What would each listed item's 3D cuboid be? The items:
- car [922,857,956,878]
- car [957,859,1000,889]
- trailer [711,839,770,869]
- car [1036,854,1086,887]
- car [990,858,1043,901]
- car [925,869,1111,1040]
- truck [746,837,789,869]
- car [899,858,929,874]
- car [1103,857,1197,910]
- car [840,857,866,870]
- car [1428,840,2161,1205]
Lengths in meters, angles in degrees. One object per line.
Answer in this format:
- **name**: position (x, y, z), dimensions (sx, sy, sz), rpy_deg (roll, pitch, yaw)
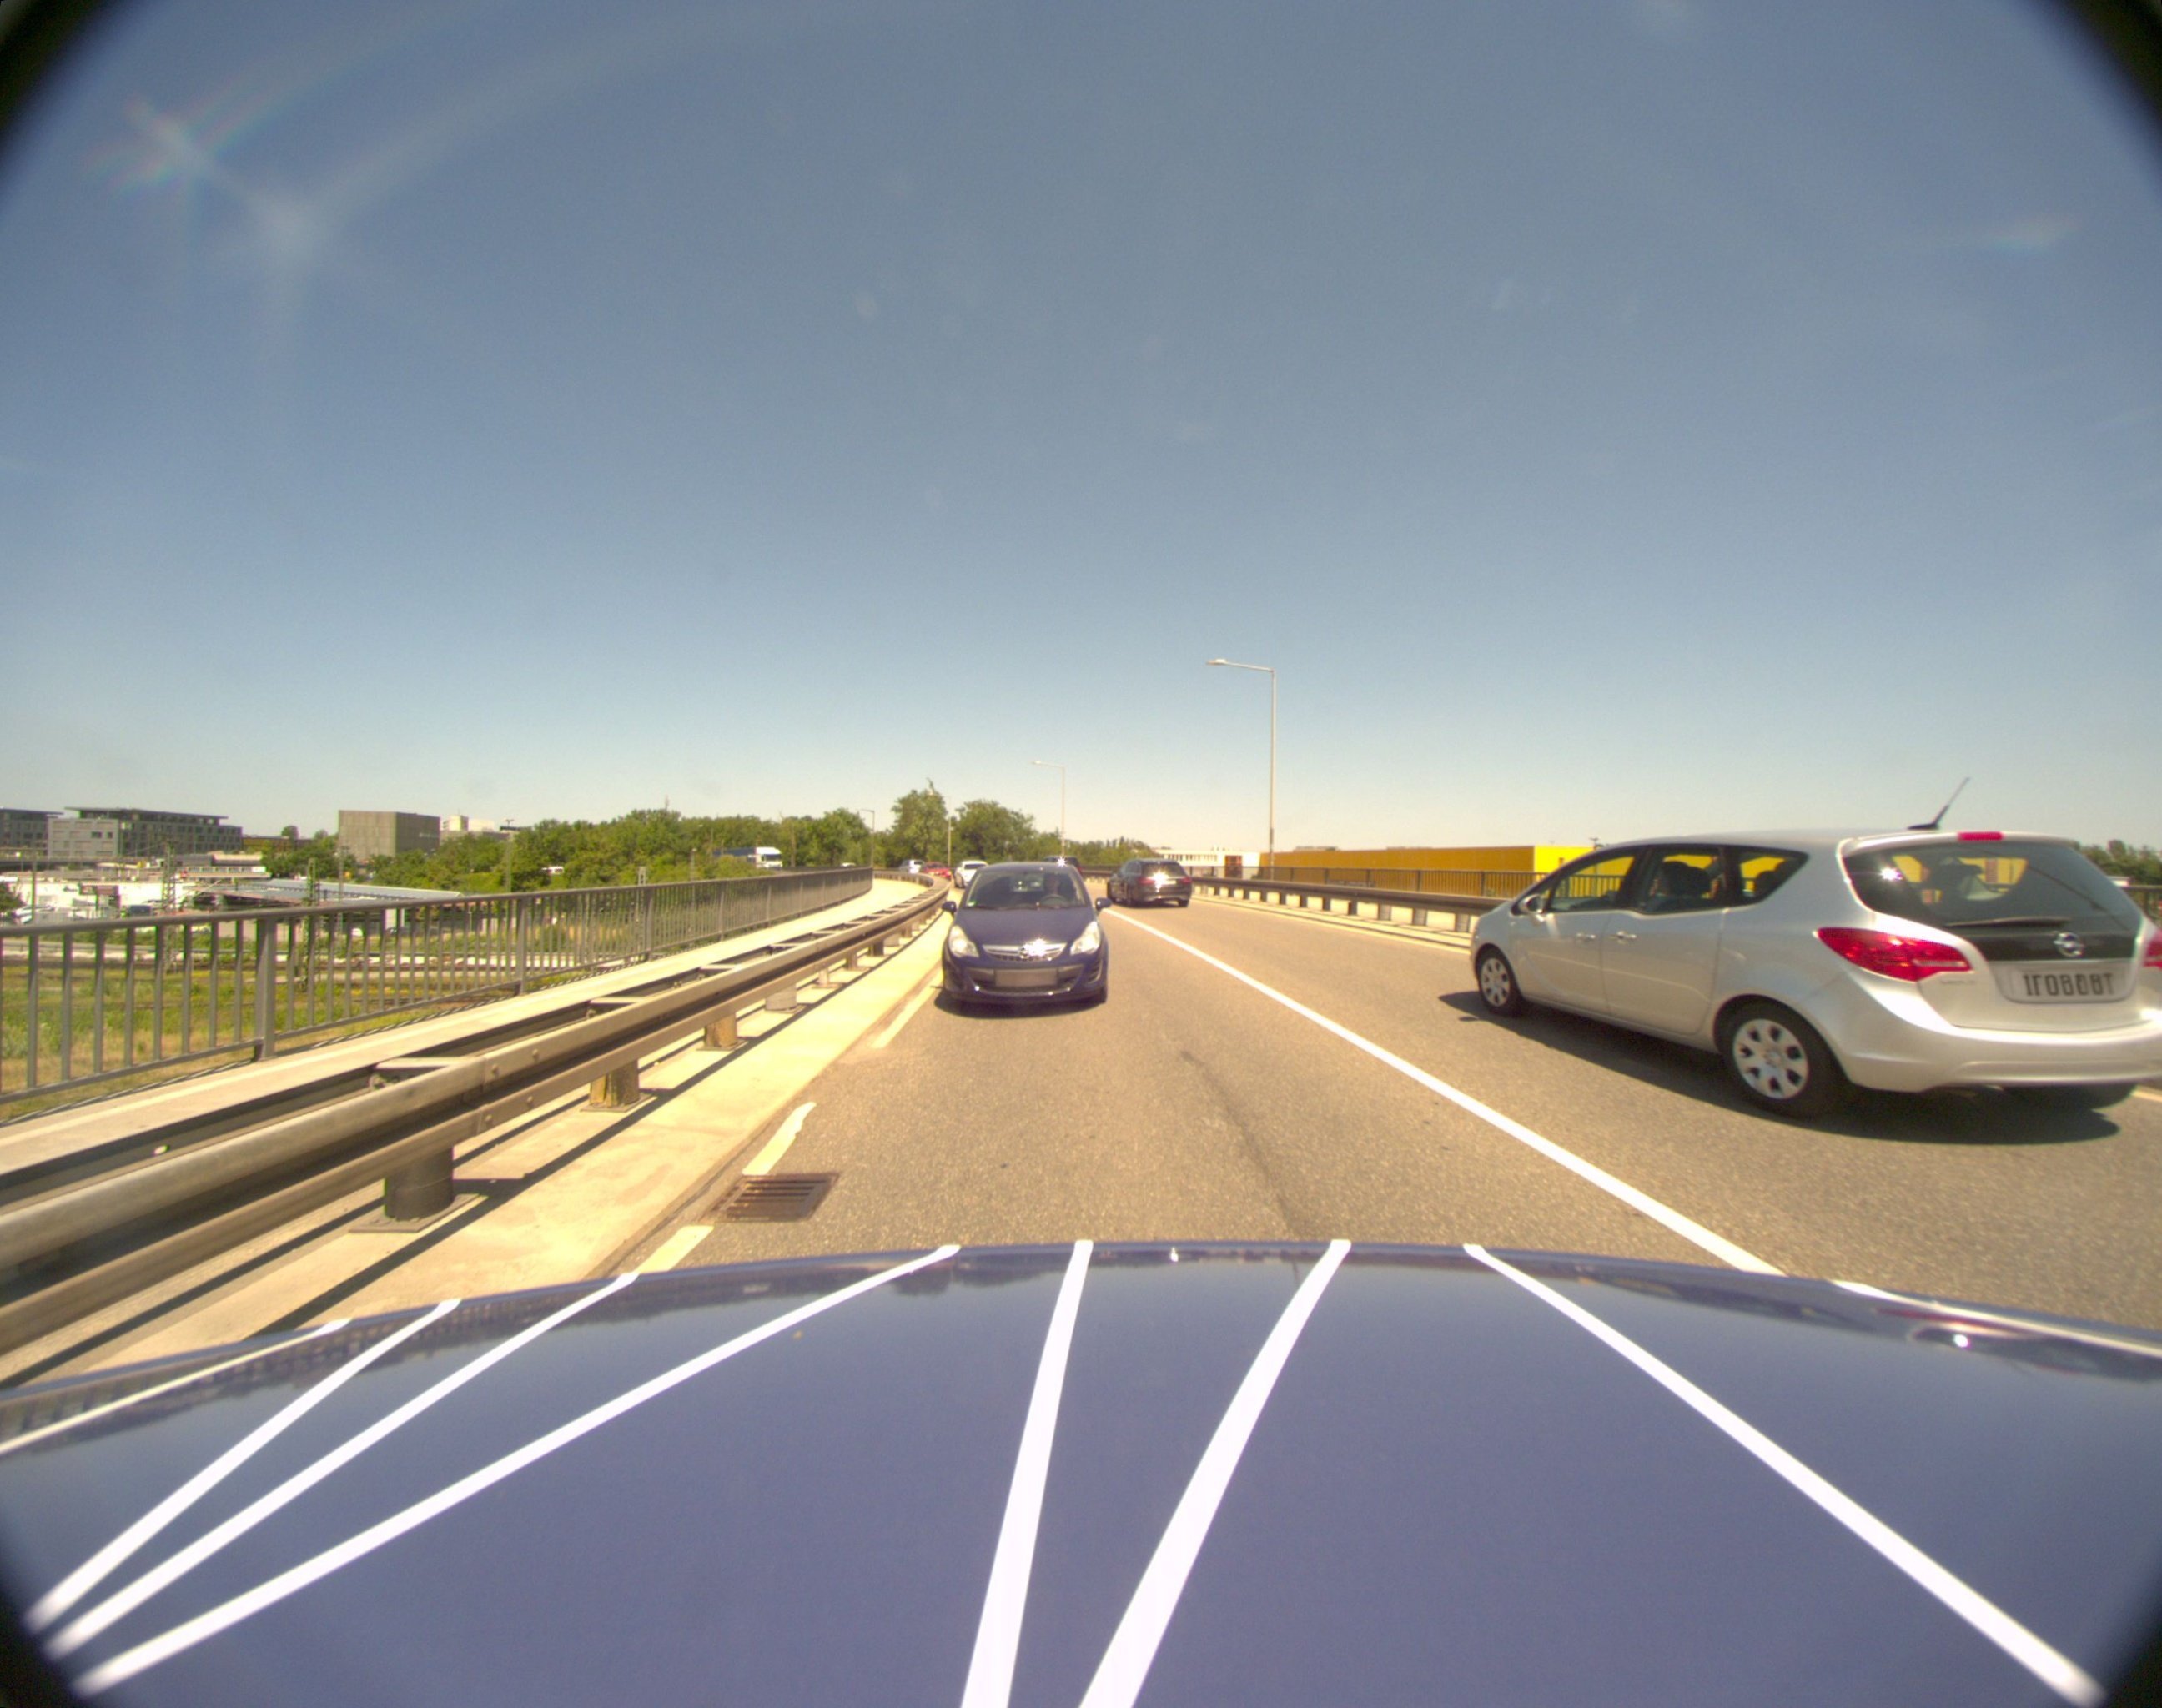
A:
- **car**: position (-10.425, 0.933, 55.566), dimensions (1.797, 1.446, 4.515), rpy_deg (0, 0, -20)
- **car**: position (-5.548, 1.052, 40.760), dimensions (1.796, 1.446, 4.517), rpy_deg (-2, 0, -14)
- **trailer**: position (-49.725, 0.074, 110.708), dimensions (12.677, 4.210, 2.707), rpy_deg (-1, 1, 41)
- **car**: position (-1.124, 0.806, 39.828), dimensions (1.779, 1.616, 4.248), rpy_deg (-1, 0, -14)
- **car**: position (-2.539, 0.915, 29.085), dimensions (1.795, 1.446, 4.520), rpy_deg (-2, 0, -7)
- **car**: position (-0.574, 0.952, 8.896), dimensions (1.645, 1.431, 4.000), rpy_deg (-2, 0, 0)
- **truck**: position (-43.409, -0.066, 105.112), dimensions (6.820, 4.204, 2.702), rpy_deg (-1, 2, 42)
- **car**: position (-16.783, 1.176, 76.146), dimensions (1.702, 1.598, 3.990), rpy_deg (-1, 0, -31)
- **car**: position (2.014, 0.827, 23.506), dimensions (1.778, 1.430, 4.388), rpy_deg (-1, 0, -10)
- **car**: position (-27.571, 1.124, 91.864), dimensions (1.703, 1.598, 3.989), rpy_deg (0, 0, -39)
- **car**: position (4.424, 0.730, 5.443), dimensions (1.741, 1.570, 4.175), rpy_deg (-1, 0, -4)
